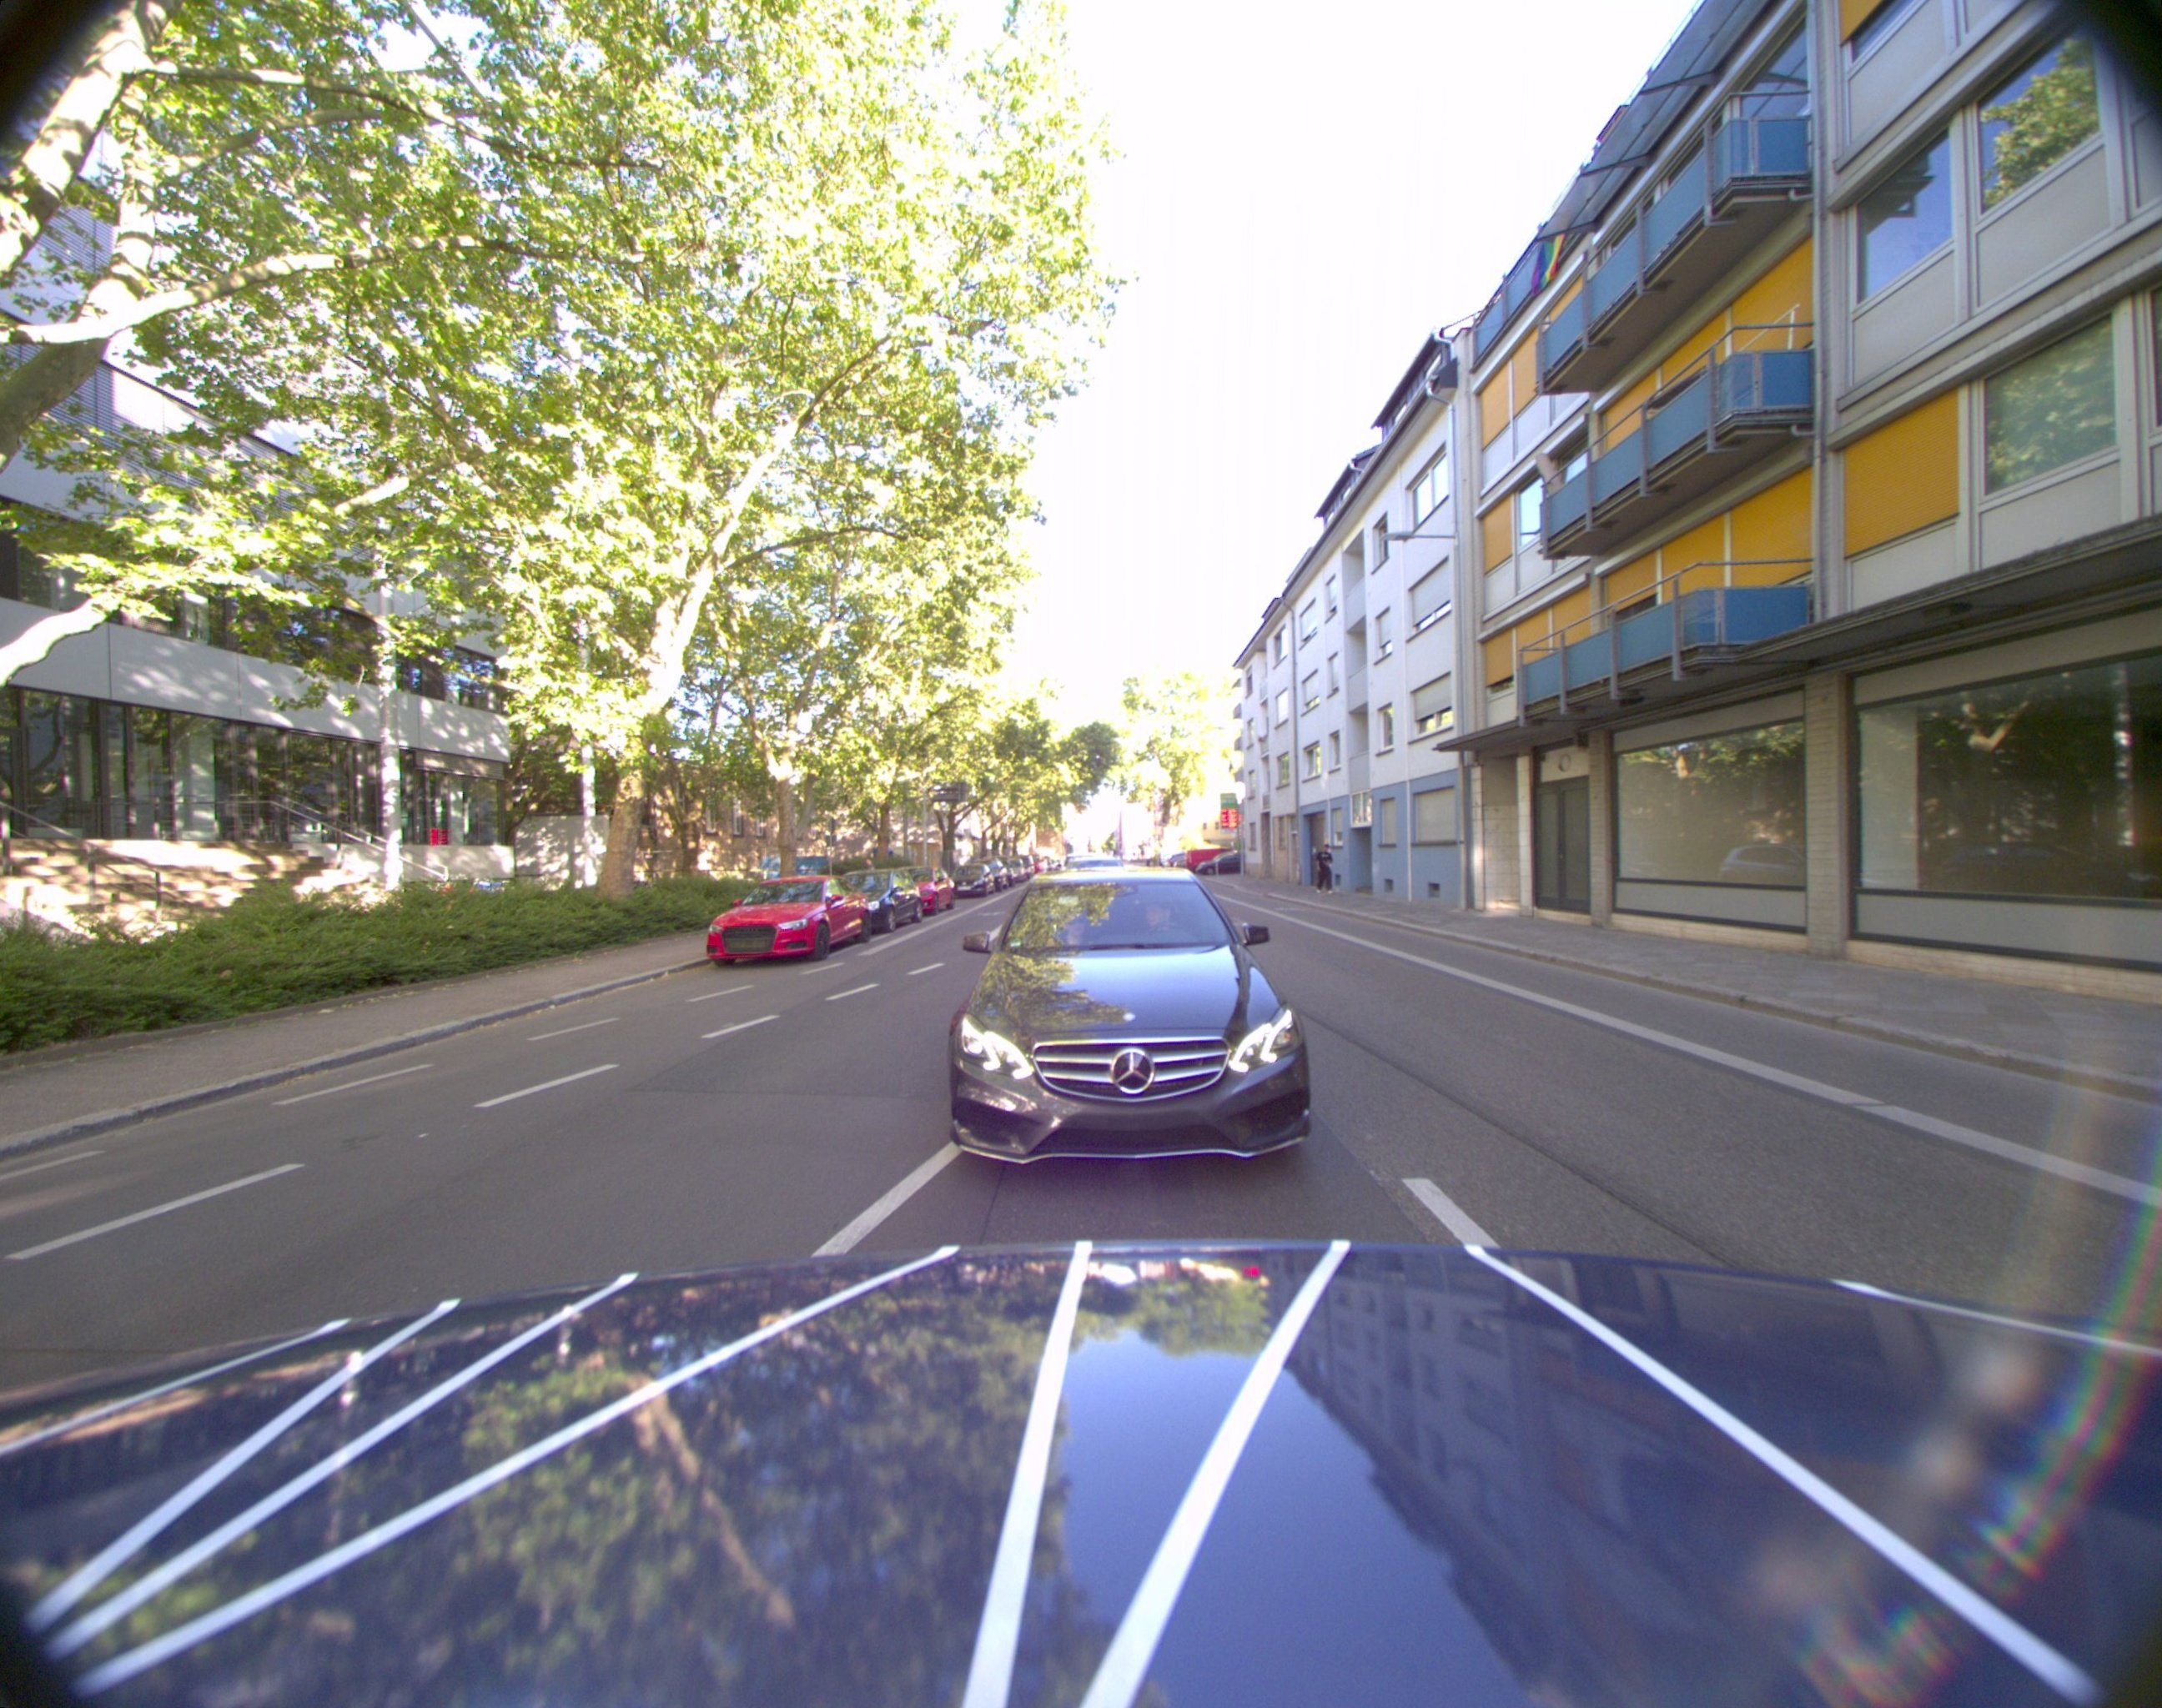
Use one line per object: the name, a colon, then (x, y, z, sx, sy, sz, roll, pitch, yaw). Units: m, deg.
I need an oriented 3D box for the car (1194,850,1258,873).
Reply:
car: (10.395, 0.519, 54.757, 4.255, 1.392, 1.653, -4, 0, 1)

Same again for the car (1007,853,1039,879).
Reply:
car: (-4.184, 0.812, 55.649, 1.835, 1.750, 4.259, -2, 0, 1)

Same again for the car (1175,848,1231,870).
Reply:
car: (10.047, 0.409, 62.721, 4.255, 1.461, 1.653, -4, 0, 1)

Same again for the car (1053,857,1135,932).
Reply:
car: (0.324, 0.880, 18.357, 1.726, 1.530, 4.000, -1, 0, 1)

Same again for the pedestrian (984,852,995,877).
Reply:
pedestrian: (-6.807, 0.760, 56.363, 0.660, 1.849, 0.641, -2, 1, 1)

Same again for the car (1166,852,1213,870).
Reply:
car: (10.428, 0.674, 73.202, 4.255, 1.461, 1.653, -4, 0, 1)

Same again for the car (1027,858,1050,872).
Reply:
car: (-3.995, 1.026, 71.797, 1.835, 1.220, 4.259, -2, 0, 1)

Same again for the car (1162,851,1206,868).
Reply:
car: (10.598, 0.541, 78.660, 4.255, 1.461, 1.653, -4, 0, 1)

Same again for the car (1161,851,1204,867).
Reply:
car: (10.769, 0.515, 80.625, 4.255, 1.461, 1.653, -4, 0, 1)

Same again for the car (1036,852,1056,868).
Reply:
car: (-3.944, 0.668, 86.236, 1.835, 1.667, 4.259, -2, 0, 1)

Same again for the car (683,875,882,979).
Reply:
car: (-5.134, 1.177, 13.779, 1.835, 1.396, 4.247, -2, 0, 1)

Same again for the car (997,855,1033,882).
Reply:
car: (-4.343, 0.947, 50.617, 1.835, 1.604, 4.259, -2, 0, 1)

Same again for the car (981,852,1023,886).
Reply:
car: (-4.515, 0.822, 44.124, 1.835, 1.787, 4.463, -2, 0, 1)

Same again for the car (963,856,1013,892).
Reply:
car: (-4.601, 0.964, 38.084, 1.835, 1.596, 4.161, -2, 0, 1)

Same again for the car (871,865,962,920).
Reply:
car: (-5.047, 1.134, 23.850, 1.835, 1.459, 4.168, -2, 0, 1)

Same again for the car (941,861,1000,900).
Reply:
car: (-4.750, 1.104, 33.186, 1.835, 1.459, 4.168, -2, 0, 1)

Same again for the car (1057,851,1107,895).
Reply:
car: (0.096, 0.758, 32.322, 1.908, 1.678, 4.813, -2, 0, 1)

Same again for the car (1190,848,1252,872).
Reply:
car: (10.479, 0.456, 57.059, 4.255, 1.461, 1.653, -4, 0, 1)

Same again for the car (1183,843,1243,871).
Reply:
car: (10.410, 0.223, 60.139, 4.255, 1.907, 1.818, -4, 0, 0)

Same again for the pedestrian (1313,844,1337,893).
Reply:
pedestrian: (8.504, 0.489, 26.495, 0.612, 1.685, 0.655, -2, 1, 1)

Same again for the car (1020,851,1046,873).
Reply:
car: (-4.150, 0.682, 66.357, 1.835, 1.839, 4.259, -2, 0, 1)

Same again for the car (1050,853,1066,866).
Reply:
car: (-3.052, 0.685, 102.959, 1.835, 1.667, 4.259, -2, 0, 1)

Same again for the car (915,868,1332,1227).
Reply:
car: (0.220, 0.918, 5.581, 1.849, 1.490, 4.302, -1, 0, 1)

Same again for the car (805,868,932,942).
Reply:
car: (-5.045, 1.150, 18.640, 1.835, 1.438, 4.168, -2, 0, 1)

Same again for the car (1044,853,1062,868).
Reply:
car: (-3.416, 0.786, 92.852, 1.835, 1.667, 4.259, -2, 0, 1)
